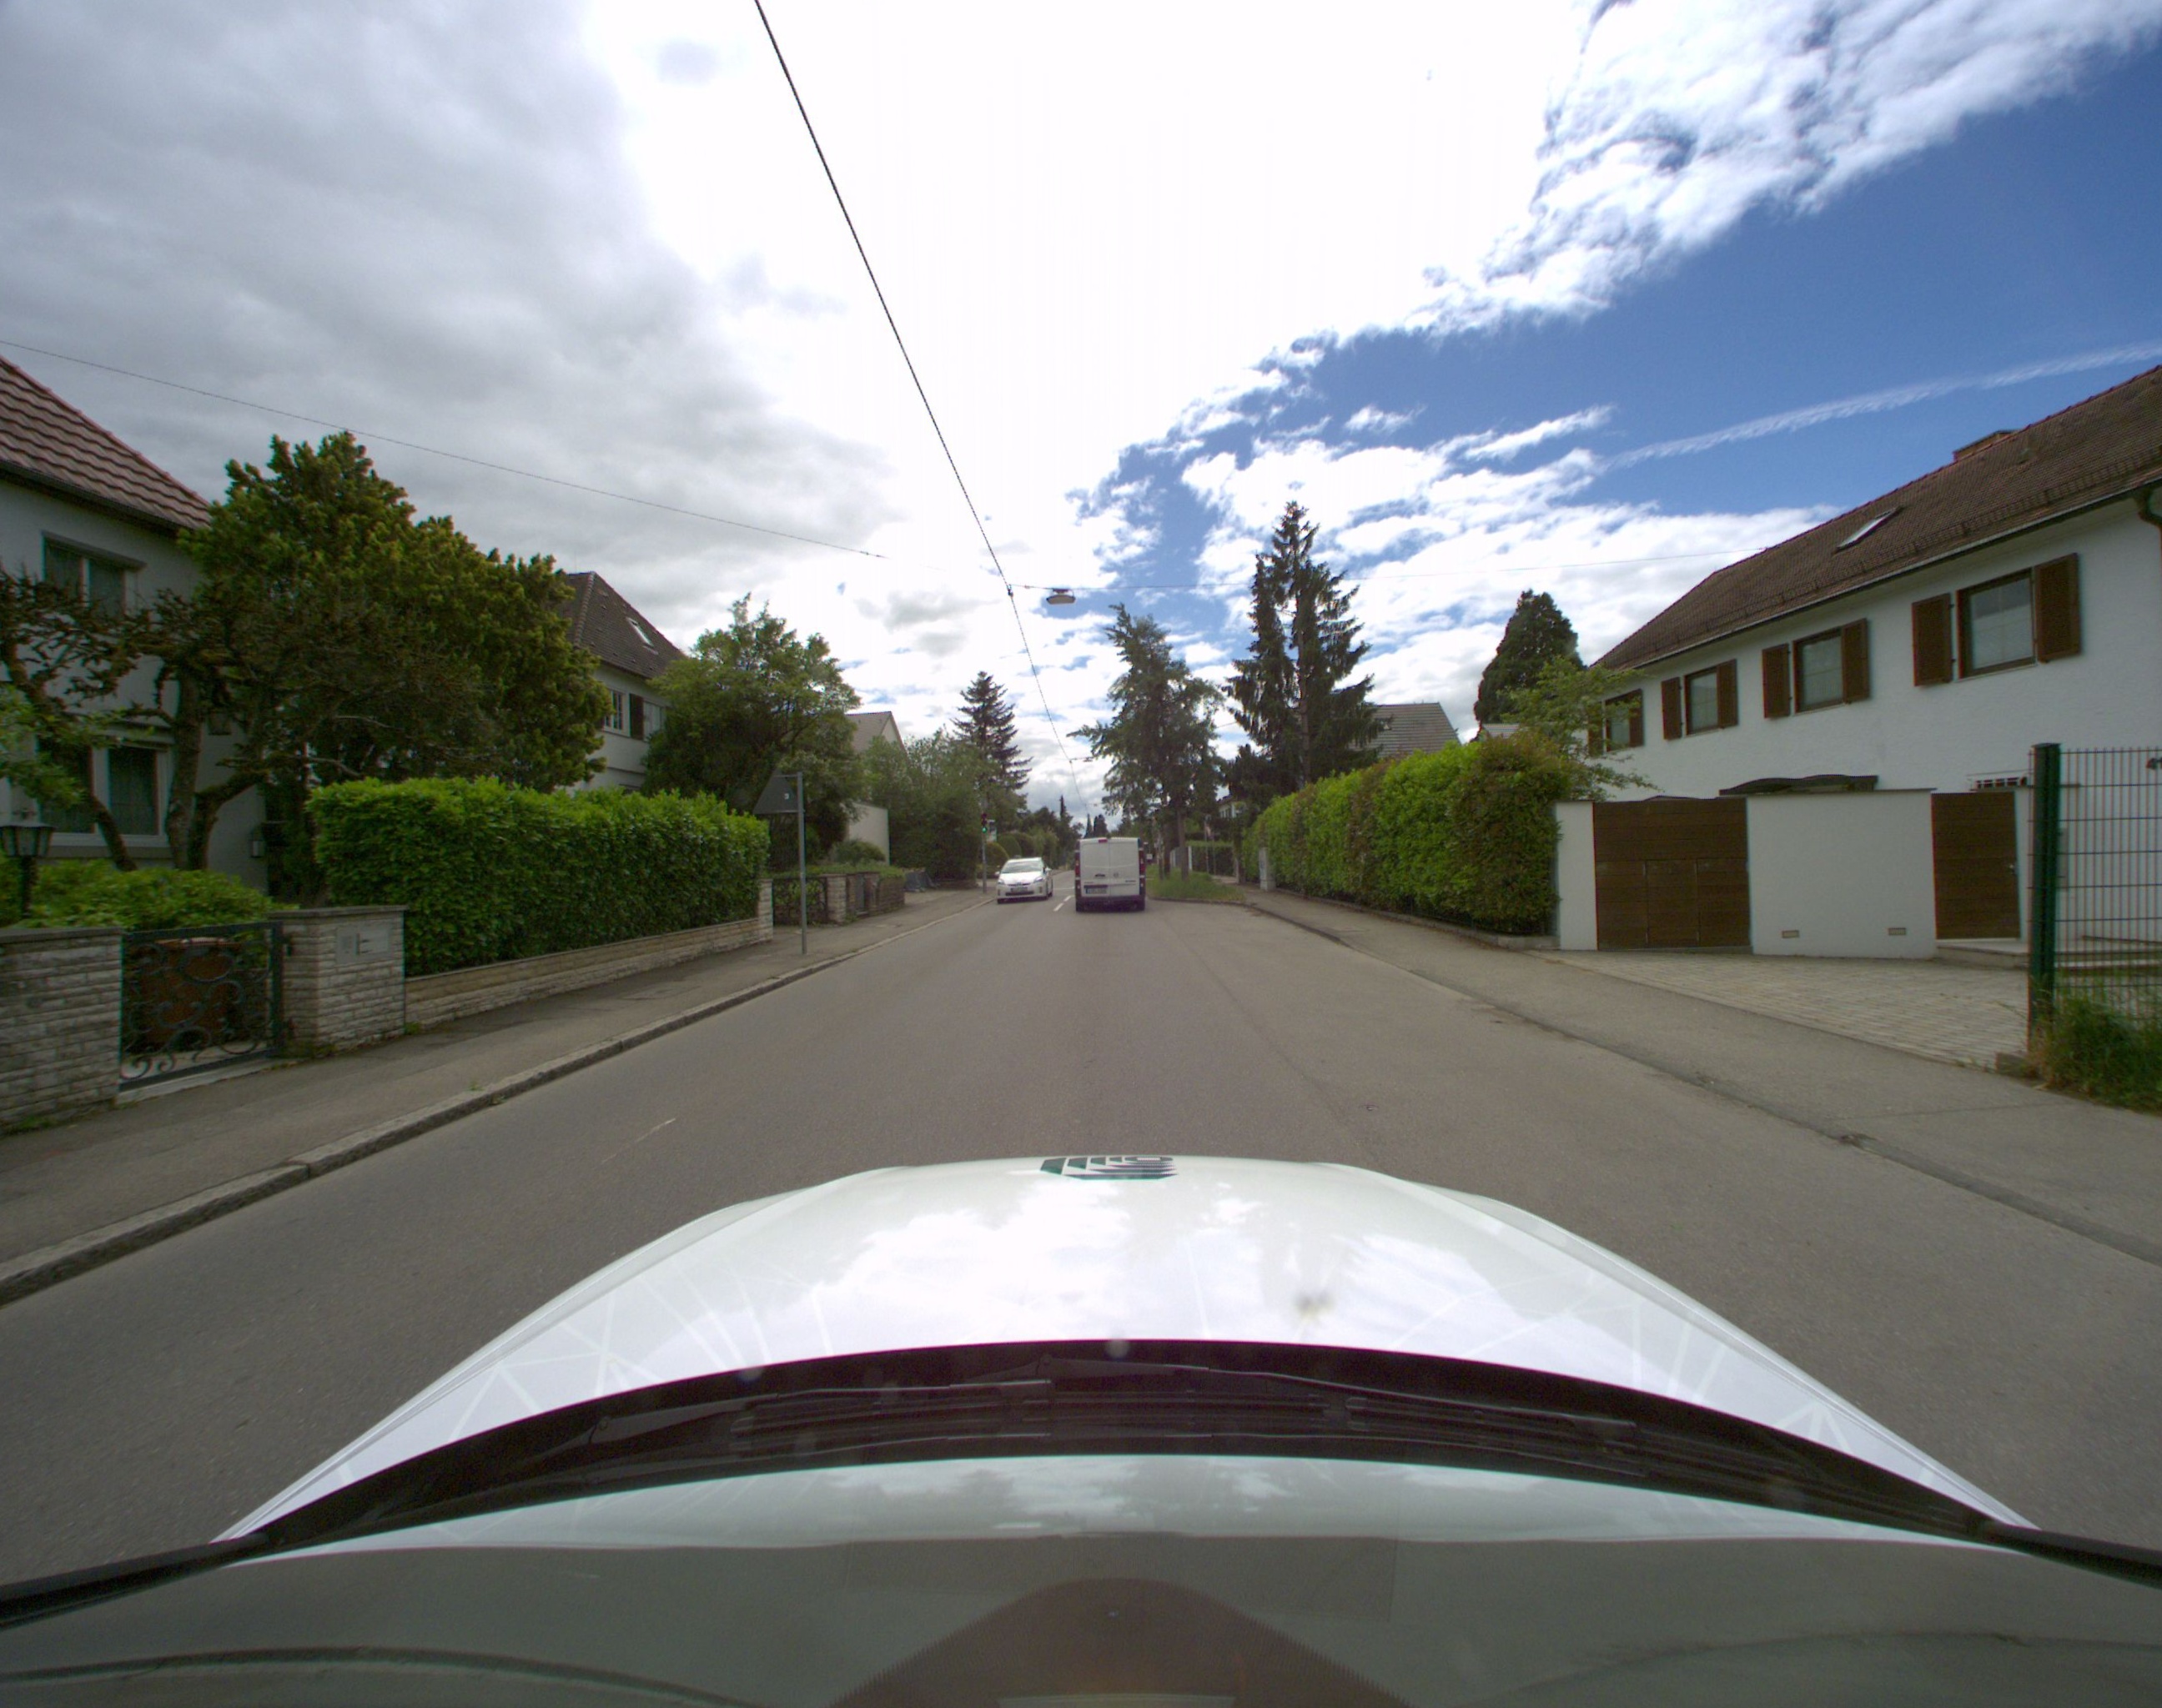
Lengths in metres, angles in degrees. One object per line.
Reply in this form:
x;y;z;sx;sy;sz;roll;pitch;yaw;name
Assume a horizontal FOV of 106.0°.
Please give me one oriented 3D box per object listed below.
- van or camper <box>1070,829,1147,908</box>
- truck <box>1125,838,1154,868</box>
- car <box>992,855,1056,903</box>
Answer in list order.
0.759;0.415;23.048;1.932;1.954;4.766;-1;-1;1;van or camper
5.044;-0.078;71.034;2.179;2.471;7.433;-1;0;2;truck
-1.950;0.822;29.225;1.848;1.451;4.282;-4;0;1;car
